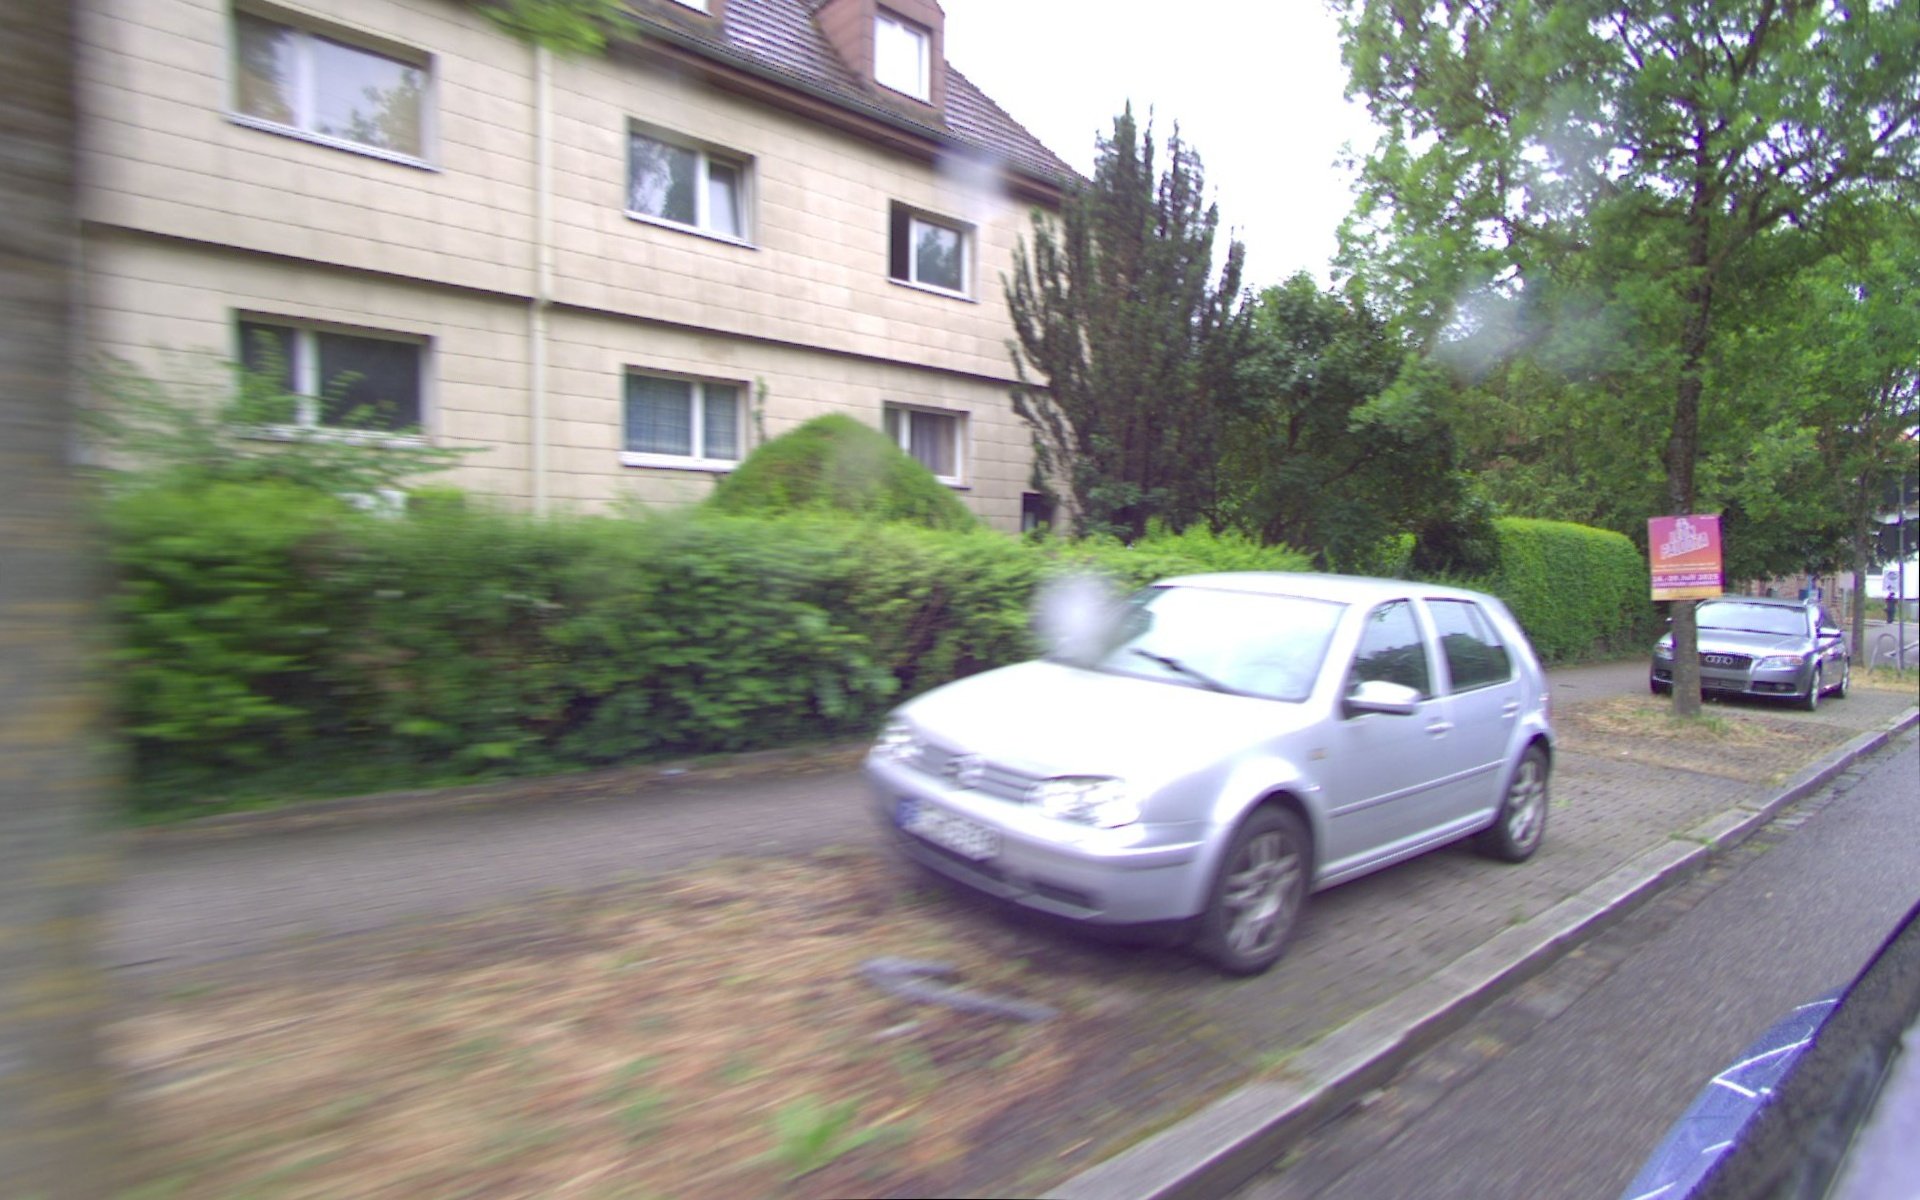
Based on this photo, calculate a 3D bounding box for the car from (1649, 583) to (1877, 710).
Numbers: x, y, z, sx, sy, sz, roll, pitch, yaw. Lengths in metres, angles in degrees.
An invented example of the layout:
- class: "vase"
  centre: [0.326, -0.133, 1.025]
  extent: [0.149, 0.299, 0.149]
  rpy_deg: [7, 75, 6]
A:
- class: "car"
  centre: [11.290, 0.552, 14.116]
  extent: [4.422, 1.406, 1.692]
  rpy_deg: [0, 4, -42]

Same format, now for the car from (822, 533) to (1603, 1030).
- class: "car"
  centre: [1.470, 0.533, 4.915]
  extent: [3.950, 1.453, 1.606]
  rpy_deg: [1, 4, -40]
